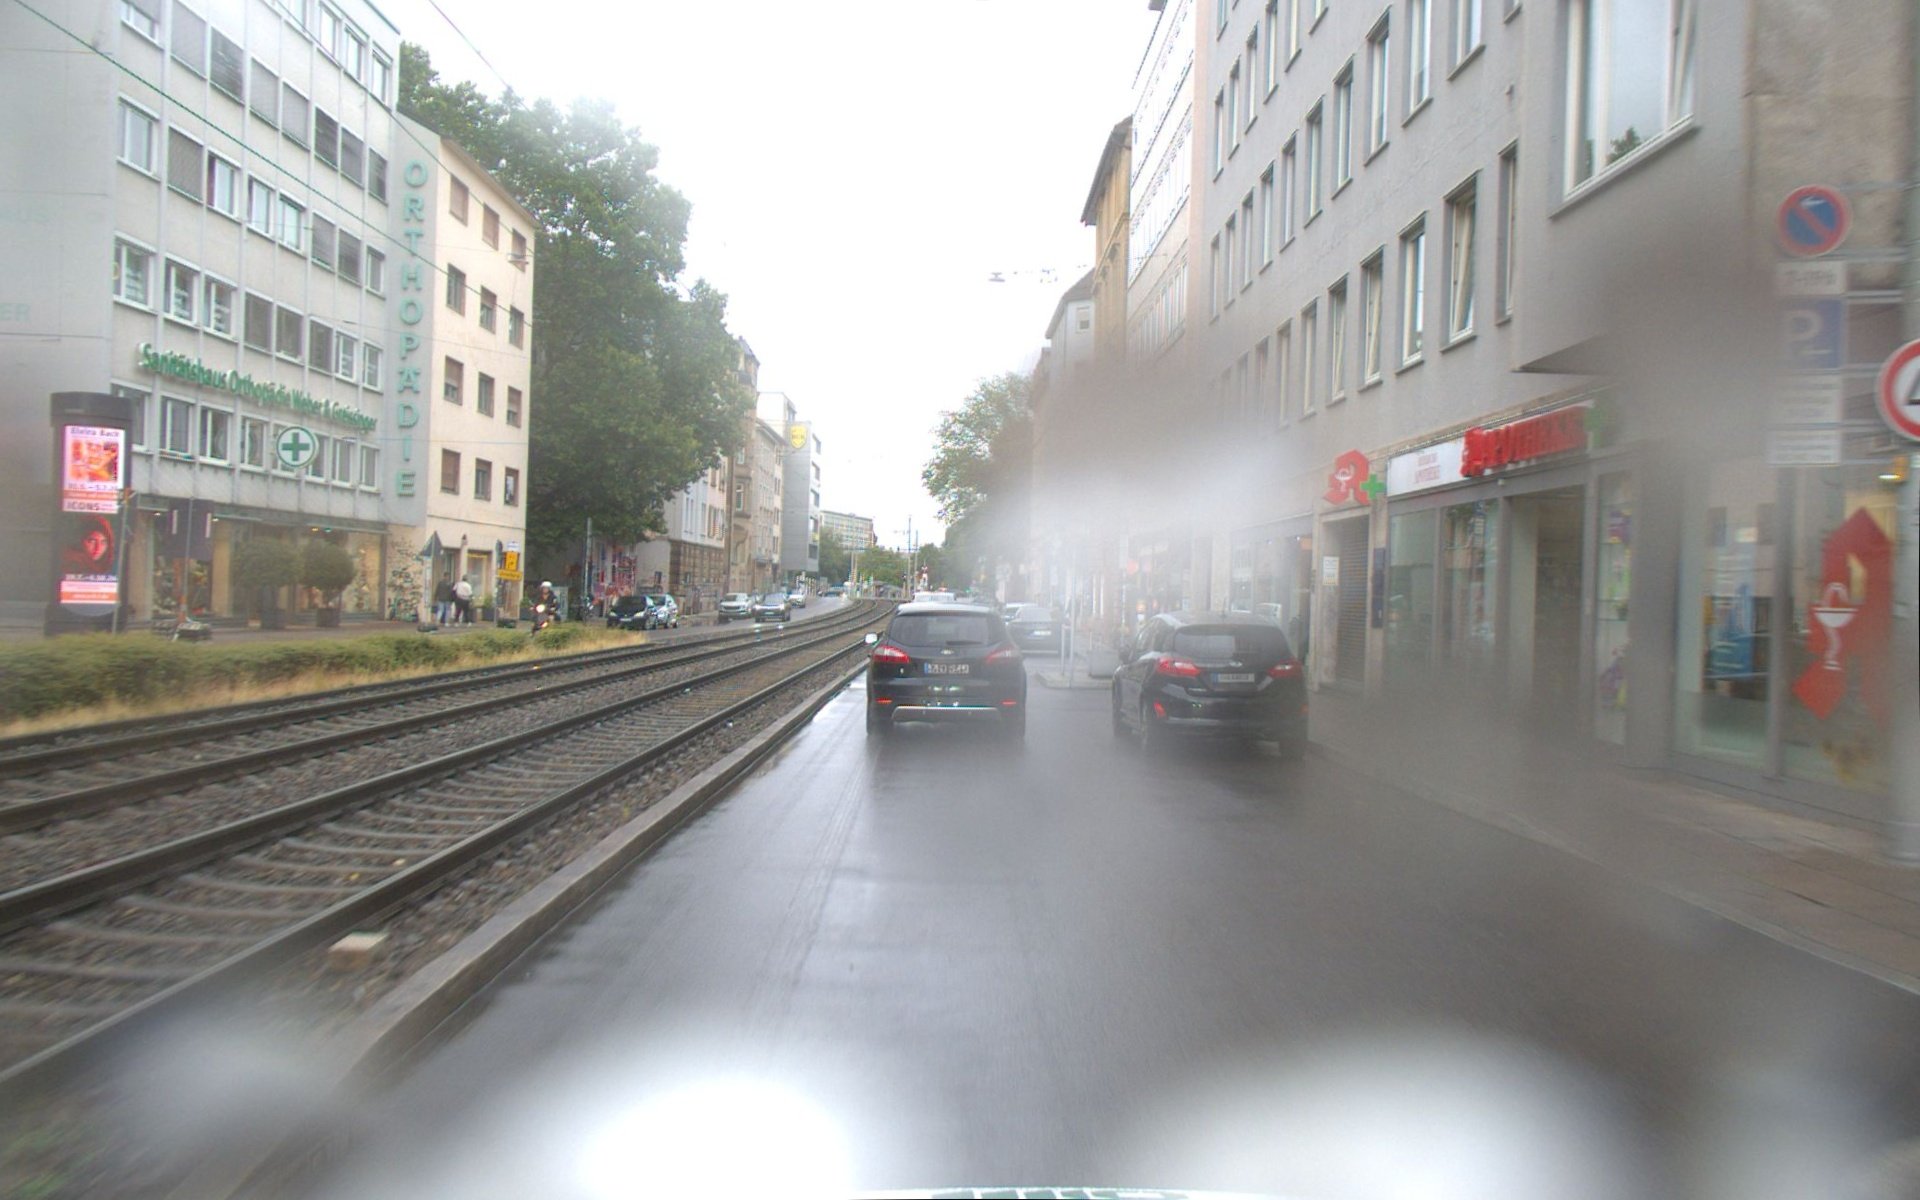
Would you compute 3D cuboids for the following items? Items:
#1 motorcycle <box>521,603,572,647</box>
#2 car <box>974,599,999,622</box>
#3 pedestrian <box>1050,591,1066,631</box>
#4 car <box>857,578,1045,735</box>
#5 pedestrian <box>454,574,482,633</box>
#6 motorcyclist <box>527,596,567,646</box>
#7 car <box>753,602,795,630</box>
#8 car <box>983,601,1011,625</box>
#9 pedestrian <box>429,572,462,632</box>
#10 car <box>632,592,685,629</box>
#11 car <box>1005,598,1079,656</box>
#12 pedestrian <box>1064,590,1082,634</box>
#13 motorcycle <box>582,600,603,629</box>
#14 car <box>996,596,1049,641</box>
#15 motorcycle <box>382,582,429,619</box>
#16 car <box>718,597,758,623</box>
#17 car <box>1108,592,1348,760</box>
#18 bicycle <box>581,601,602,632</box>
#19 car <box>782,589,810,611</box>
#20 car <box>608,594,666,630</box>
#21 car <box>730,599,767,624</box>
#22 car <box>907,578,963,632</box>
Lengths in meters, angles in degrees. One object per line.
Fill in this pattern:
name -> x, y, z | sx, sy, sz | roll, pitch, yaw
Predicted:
motorcycle -> -10.557, 0.636, 42.293 | 0.727, 1.078, 1.931 | 2, -1, 1
car -> 1.884, 0.718, 117.407 | 1.609, 1.542, 4.038 | 2, 0, -1
pedestrian -> 4.664, 0.526, 78.968 | 0.648, 1.884, 0.821 | 2, 0, -1
car -> -0.097, 0.635, 19.547 | 1.953, 1.622, 4.270 | 1, -1, 0
pedestrian -> -16.399, 0.110, 55.151 | 0.664, 1.929, 0.742 | 2, -1, -1
motorcyclist -> -10.555, 0.535, 42.305 | 0.726, 1.239, 0.970 | 2, -1, 1
car -> -10.904, 0.955, 97.247 | 1.953, 1.545, 4.443 | 2, 0, -1
car -> 2.537, 0.878, 112.858 | 1.703, 1.515, 3.999 | 2, 0, -1
pedestrian -> -17.133, 0.074, 55.102 | 0.712, 1.929, 0.982 | 2, -1, -1
car -> -13.945, 0.474, 76.780 | 1.687, 1.598, 4.219 | 2, 0, -1
car -> 2.415, 0.818, 49.608 | 1.953, 1.622, 4.571 | 1, -1, 0
pedestrian -> 5.383, 0.572, 78.988 | 0.721, 2.049, 0.821 | 2, 0, -2
motorcycle -> -18.321, 0.719, 82.490 | 0.626, 1.403, 2.119 | 2, 0, -2
car -> 2.285, 0.669, 61.286 | 1.711, 1.549, 4.354 | 2, 0, -1
motorcycle -> -19.021, 0.020, 56.741 | 1.447, 1.200, 0.386 | 2, -1, -2
car -> -14.065, 0.630, 104.966 | 1.953, 1.545, 4.434 | 2, 0, -1
car -> 2.830, 0.790, 18.383 | 1.953, 1.622, 4.270 | 1, -1, 0
bicycle -> -15.362, 0.689, 68.978 | 0.579, 1.248, 2.399 | 2, -1, -7
car -> -14.292, 0.016, 144.304 | 1.953, 1.871, 5.069 | 2, 0, -2
car -> -13.981, 0.516, 71.834 | 1.708, 1.494, 4.219 | 0, 0, -1
car -> -14.025, 0.760, 109.888 | 1.953, 1.545, 4.208 | 2, 0, -1
car -> -0.869, 0.220, 60.696 | 1.953, 1.848, 4.270 | 1, -1, 0
